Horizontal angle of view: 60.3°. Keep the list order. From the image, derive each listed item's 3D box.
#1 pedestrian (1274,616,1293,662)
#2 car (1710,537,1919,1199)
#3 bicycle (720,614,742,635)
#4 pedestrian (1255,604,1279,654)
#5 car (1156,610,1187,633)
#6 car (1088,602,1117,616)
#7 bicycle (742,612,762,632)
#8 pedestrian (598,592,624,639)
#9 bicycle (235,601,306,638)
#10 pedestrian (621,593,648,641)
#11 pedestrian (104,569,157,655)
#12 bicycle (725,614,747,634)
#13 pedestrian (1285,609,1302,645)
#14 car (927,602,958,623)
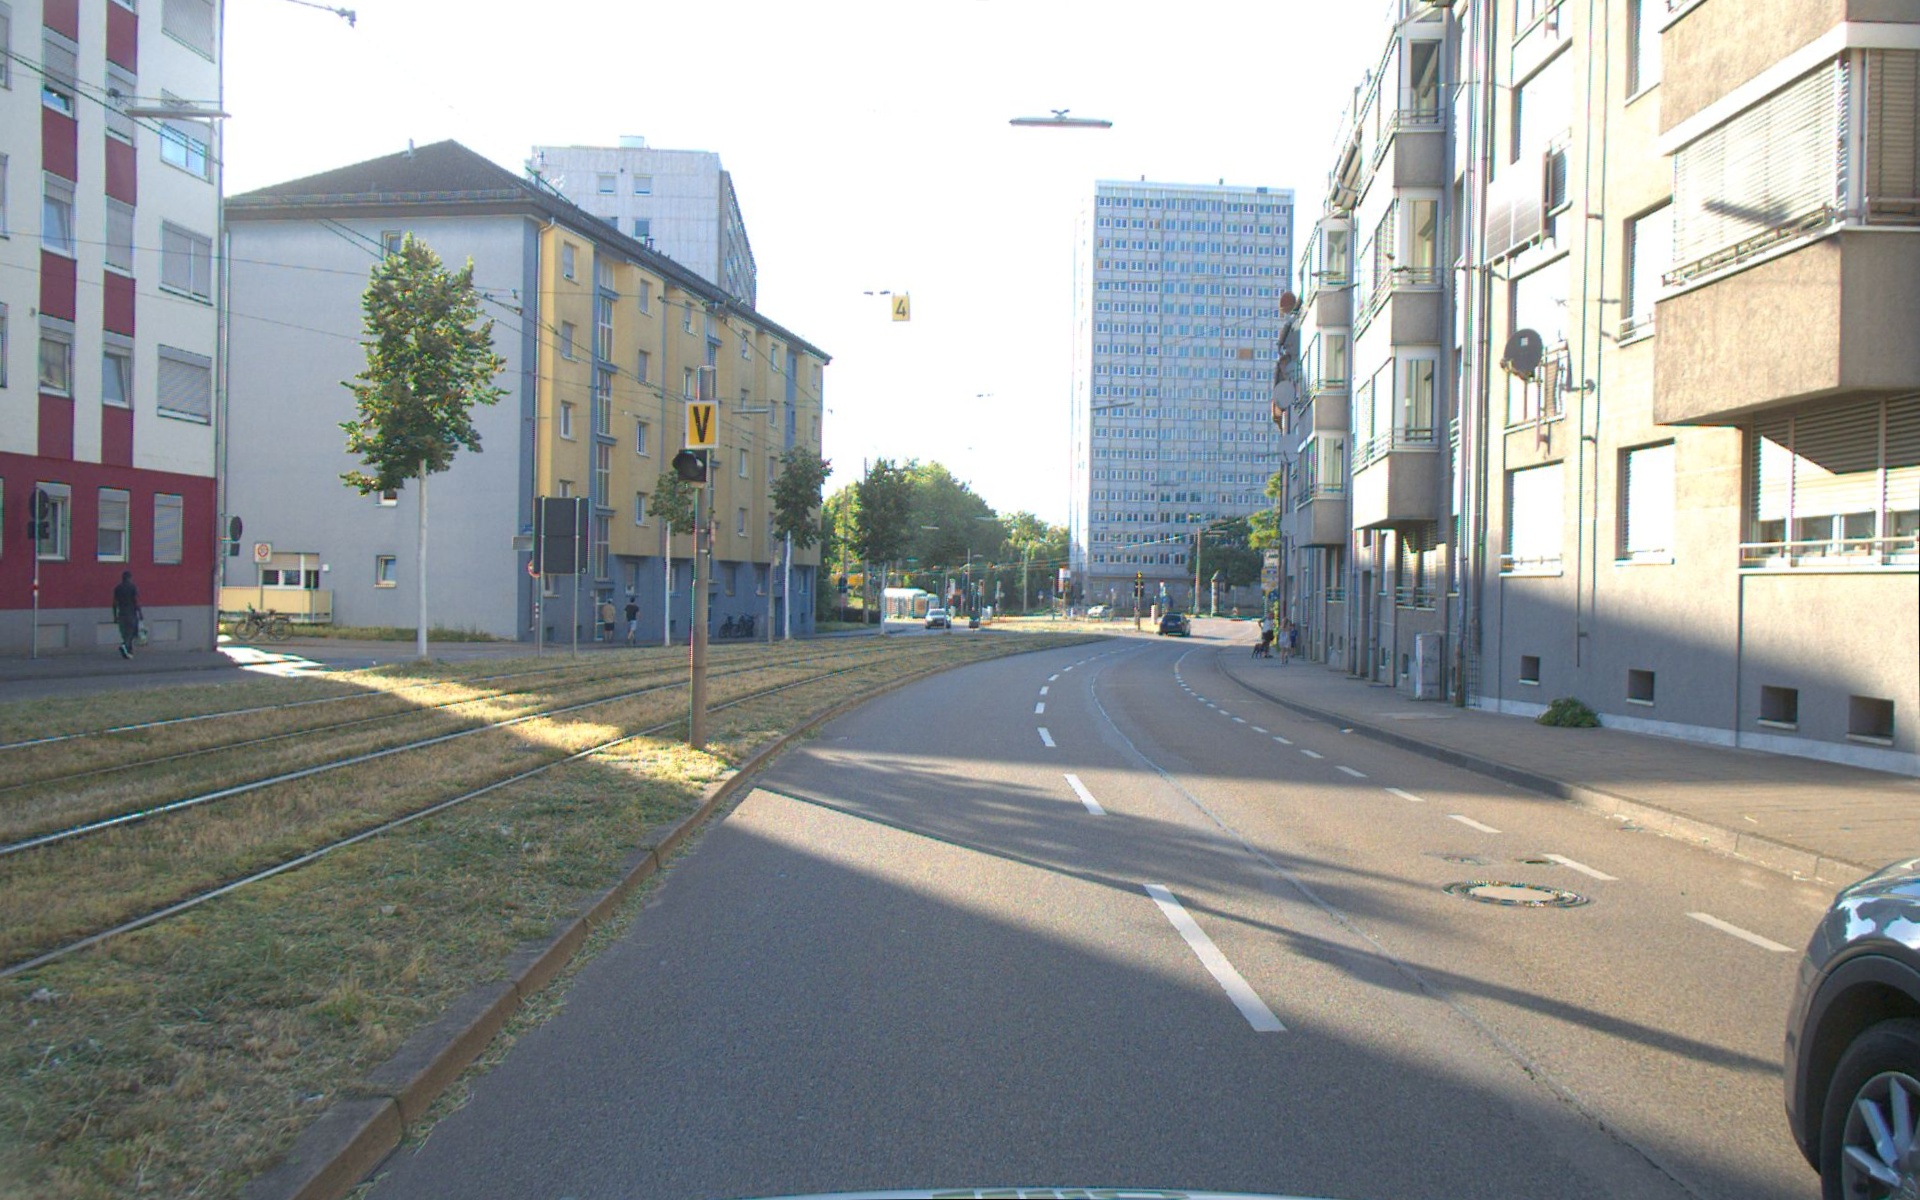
[{"bbox_3d":[9.771,1.180,49.966,0.503,1.368,0.609,0,-1,5],"label":"pedestrian"},{"bbox_3d":[2.784,0.715,2.108,1.730,1.615,4.067,1,1,-1],"label":"car"},{"bbox_3d":[-10.877,1.158,78.566,0.418,0.941,1.913,4,0,10],"label":"bicycle"},{"bbox_3d":[11.189,1.047,60.225,0.812,1.803,0.997,1,0,9],"label":"pedestrian"},{"bbox_3d":[13.923,1.418,108.681,1.734,1.447,3.859,1,0,11],"label":"car"},{"bbox_3d":[16.260,1.039,188.630,1.962,1.557,3.982,1,0,-17],"label":"car"},{"bbox_3d":[-10.364,1.108,82.368,0.418,0.976,1.913,1,0,10],"label":"bicycle"},{"bbox_3d":[-13.358,0.601,63.232,0.603,1.723,0.707,6,1,9],"label":"pedestrian"},{"bbox_3d":[-21.575,0.613,51.800,1.918,1.094,0.602,1,-1,-8],"label":"bicycle"},{"bbox_3d":[-12.540,0.654,63.686,0.580,1.803,0.886,5,1,9],"label":"pedestrian"},{"bbox_3d":[-17.084,0.241,34.062,0.600,1.719,0.792,2,0,4],"label":"pedestrian"},{"bbox_3d":[-10.802,1.148,79.845,0.418,0.941,1.913,5,0,10],"label":"bicycle"},{"bbox_3d":[12.091,0.982,59.933,0.575,1.273,0.585,1,0,9],"label":"pedestrian"},{"bbox_3d":[-1.348,0.984,128.578,1.755,1.495,4.799,-1,-1,8],"label":"car"}]
